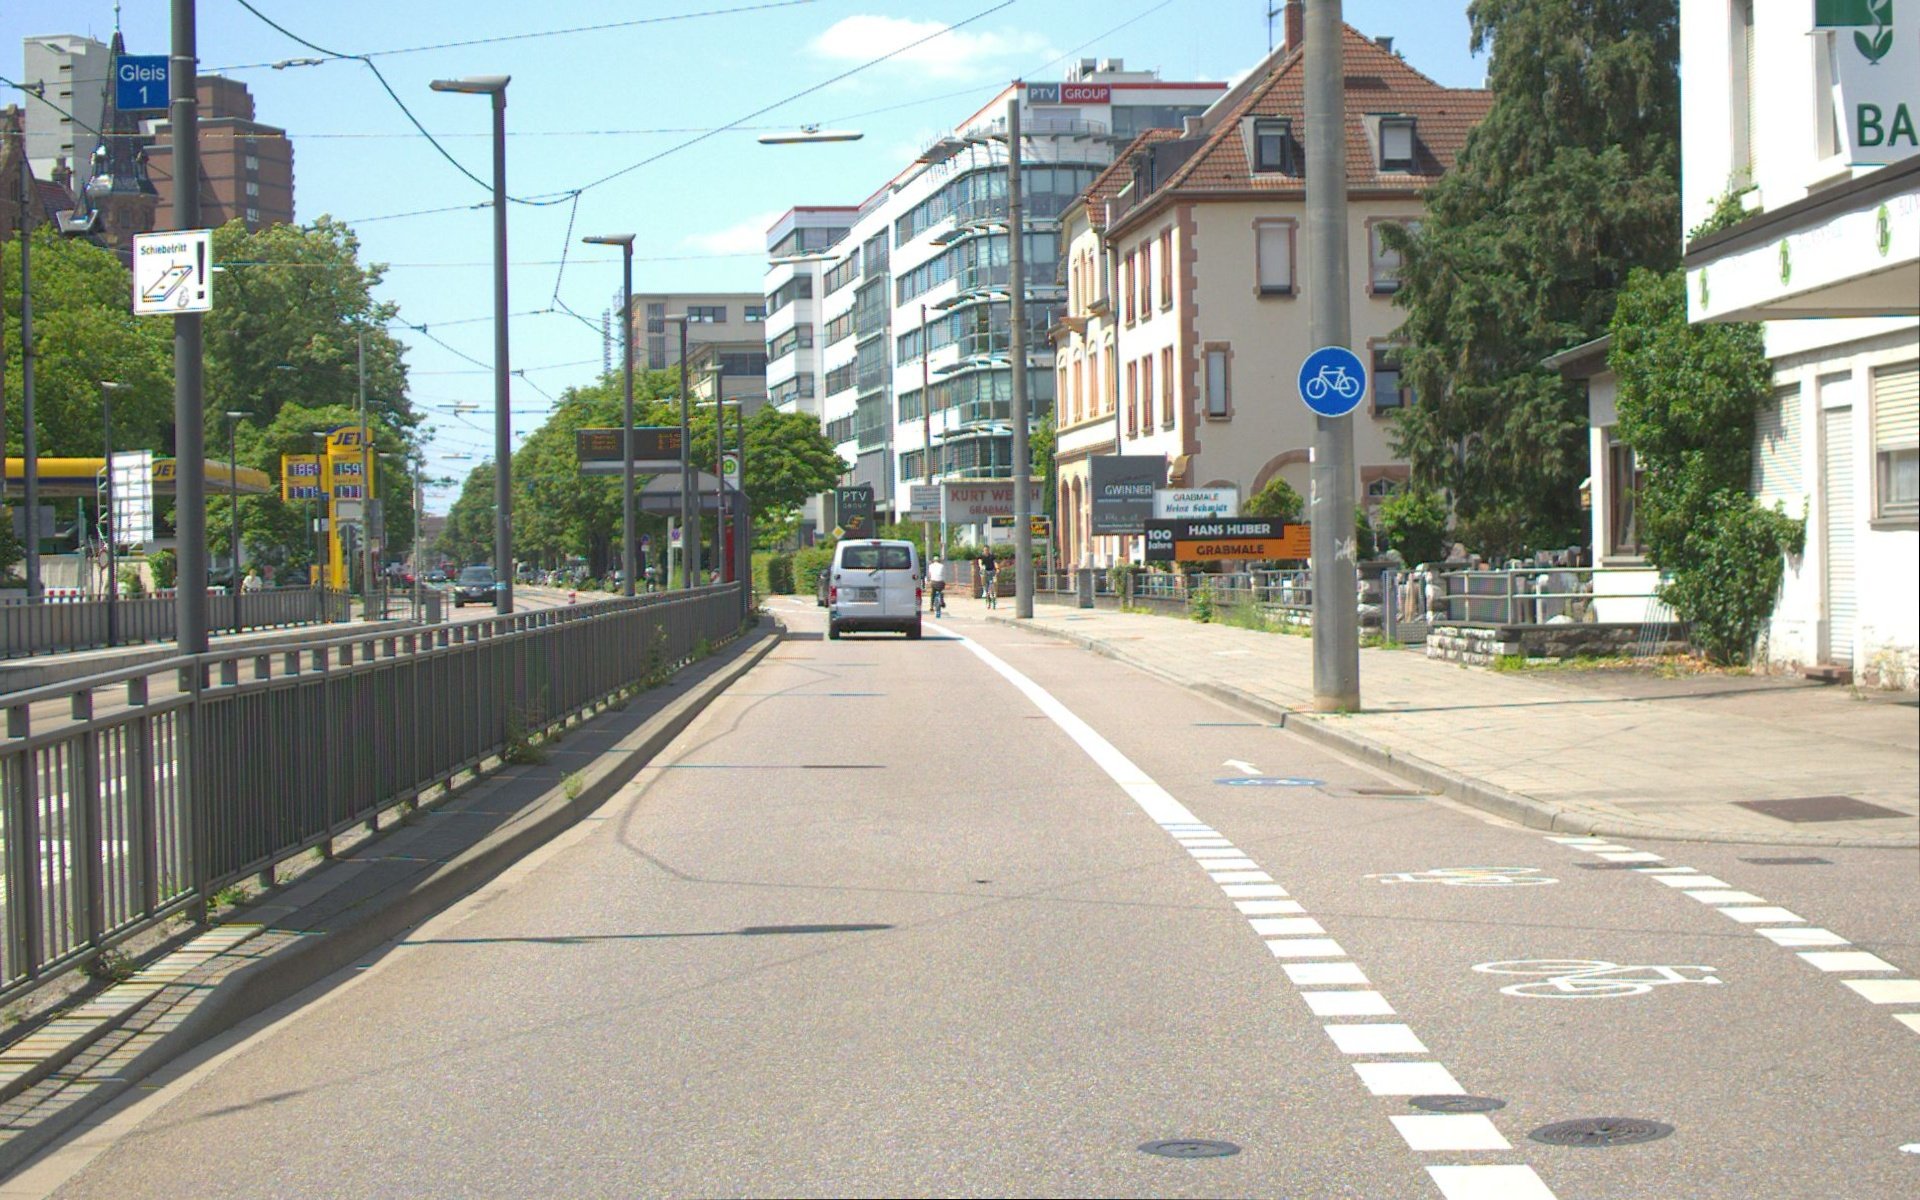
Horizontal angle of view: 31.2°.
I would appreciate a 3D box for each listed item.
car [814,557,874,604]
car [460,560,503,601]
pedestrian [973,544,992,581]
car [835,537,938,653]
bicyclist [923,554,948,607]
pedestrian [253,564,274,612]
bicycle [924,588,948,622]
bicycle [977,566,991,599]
[{"bbox_3d":[-4.472,-0.759,131.675,1.863,1.681,5.001,-2,1,-6],"label":"car"},{"bbox_3d":[-20.009,-0.814,143.883,1.698,1.610,3.759,-2,0,-7],"label":"car"},{"bbox_3d":[0.658,-1.087,100.401,0.483,1.050,0.537,-3,0,0],"label":"pedestrian"},{"bbox_3d":[-1.406,-0.126,64.545,1.752,2.006,4.001,-2,2,-3],"label":"car"},{"bbox_3d":[-0.655,-0.530,92.242,0.591,1.392,0.842,-1,1,-6],"label":"bicyclist"},{"bbox_3d":[-20.535,-0.352,101.361,0.435,1.379,0.536,-3,0,-1],"label":"pedestrian"},{"bbox_3d":[-0.649,0.131,92.215,0.465,0.884,2.048,-1,1,-6],"label":"bicycle"},{"bbox_3d":[0.703,-0.500,100.401,0.356,0.937,1.317,-3,0,-1],"label":"bicycle"}]
